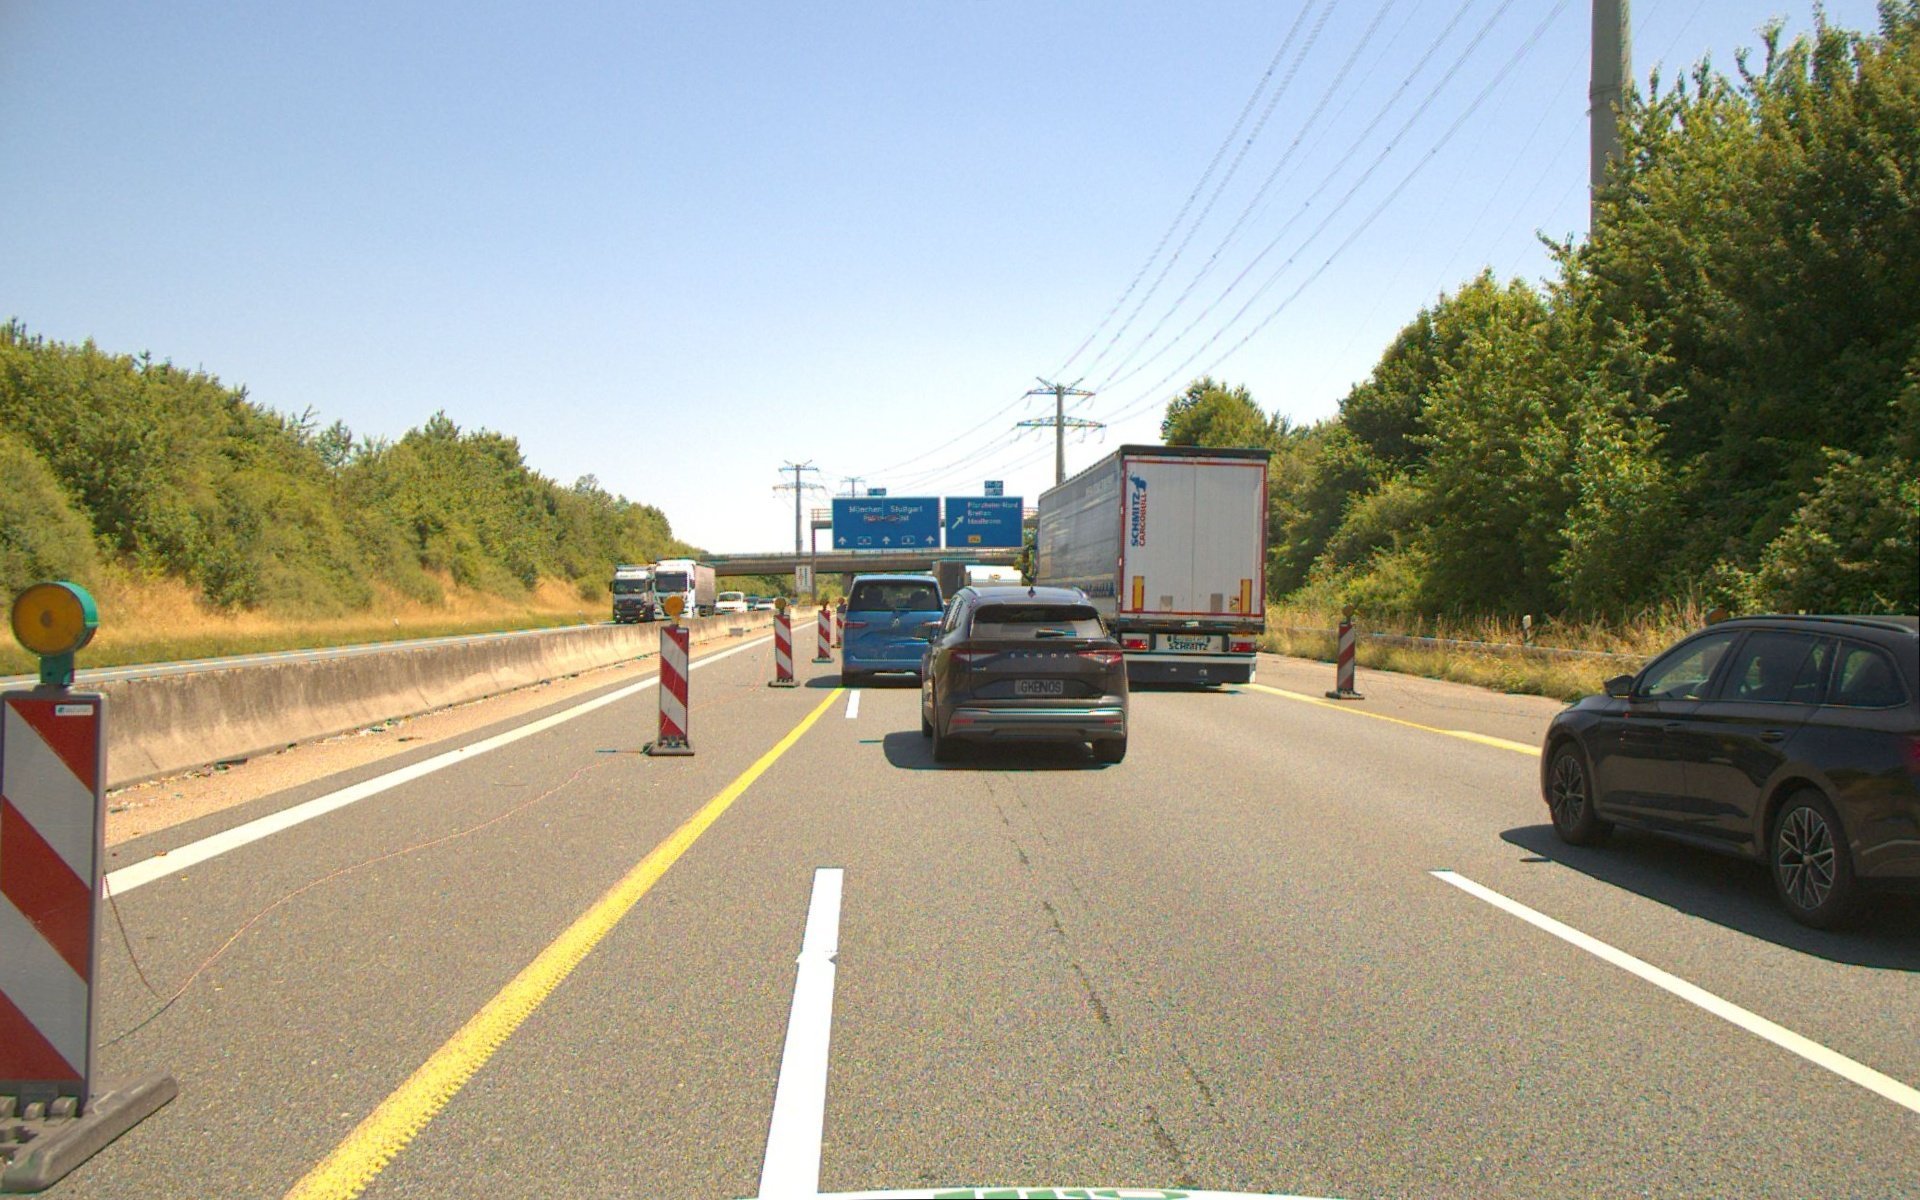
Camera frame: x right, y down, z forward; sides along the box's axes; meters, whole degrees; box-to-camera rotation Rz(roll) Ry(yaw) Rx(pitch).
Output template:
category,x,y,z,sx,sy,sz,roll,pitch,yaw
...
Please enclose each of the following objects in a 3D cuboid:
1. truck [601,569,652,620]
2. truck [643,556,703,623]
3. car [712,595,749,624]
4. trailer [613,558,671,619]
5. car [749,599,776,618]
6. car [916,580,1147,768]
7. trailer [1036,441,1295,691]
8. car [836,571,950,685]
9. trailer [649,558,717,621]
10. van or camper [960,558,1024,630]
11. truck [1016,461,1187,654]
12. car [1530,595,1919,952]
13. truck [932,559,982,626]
category,x,y,z,sx,sy,sz,roll,pitch,yaw
truck,-22.868,-0.361,113.768,2.415,3.345,6.919,-1,0,-3
truck,-19.351,-0.689,111.933,3.101,4.298,7.411,-1,0,-3
car,-14.923,0.584,107.712,1.829,1.824,5.453,-1,0,-2
trailer,-23.269,-0.804,121.472,2.430,4.253,12.078,-1,0,-3
car,-16.249,0.654,136.453,1.726,1.497,4.633,-1,0,-1
car,0.571,0.631,16.618,1.858,1.620,4.439,1,0,-3
trailer,3.663,-0.575,33.026,3.004,4.113,11.478,0,0,-4
car,-1.237,0.497,29.745,1.858,1.874,4.439,1,-1,-3
trailer,-19.671,-0.727,118.282,3.097,4.253,13.677,-1,0,-3
van or camper,1.385,-0.267,75.295,2.534,3.020,6.083,2,0,-1
truck,3.224,-0.933,39.944,2.965,4.159,7.789,1,0,-4
car,4.863,0.755,9.060,1.743,1.515,4.461,1,0,-3
truck,-0.286,-0.447,112.123,3.015,4.219,13.050,1,0,-1
